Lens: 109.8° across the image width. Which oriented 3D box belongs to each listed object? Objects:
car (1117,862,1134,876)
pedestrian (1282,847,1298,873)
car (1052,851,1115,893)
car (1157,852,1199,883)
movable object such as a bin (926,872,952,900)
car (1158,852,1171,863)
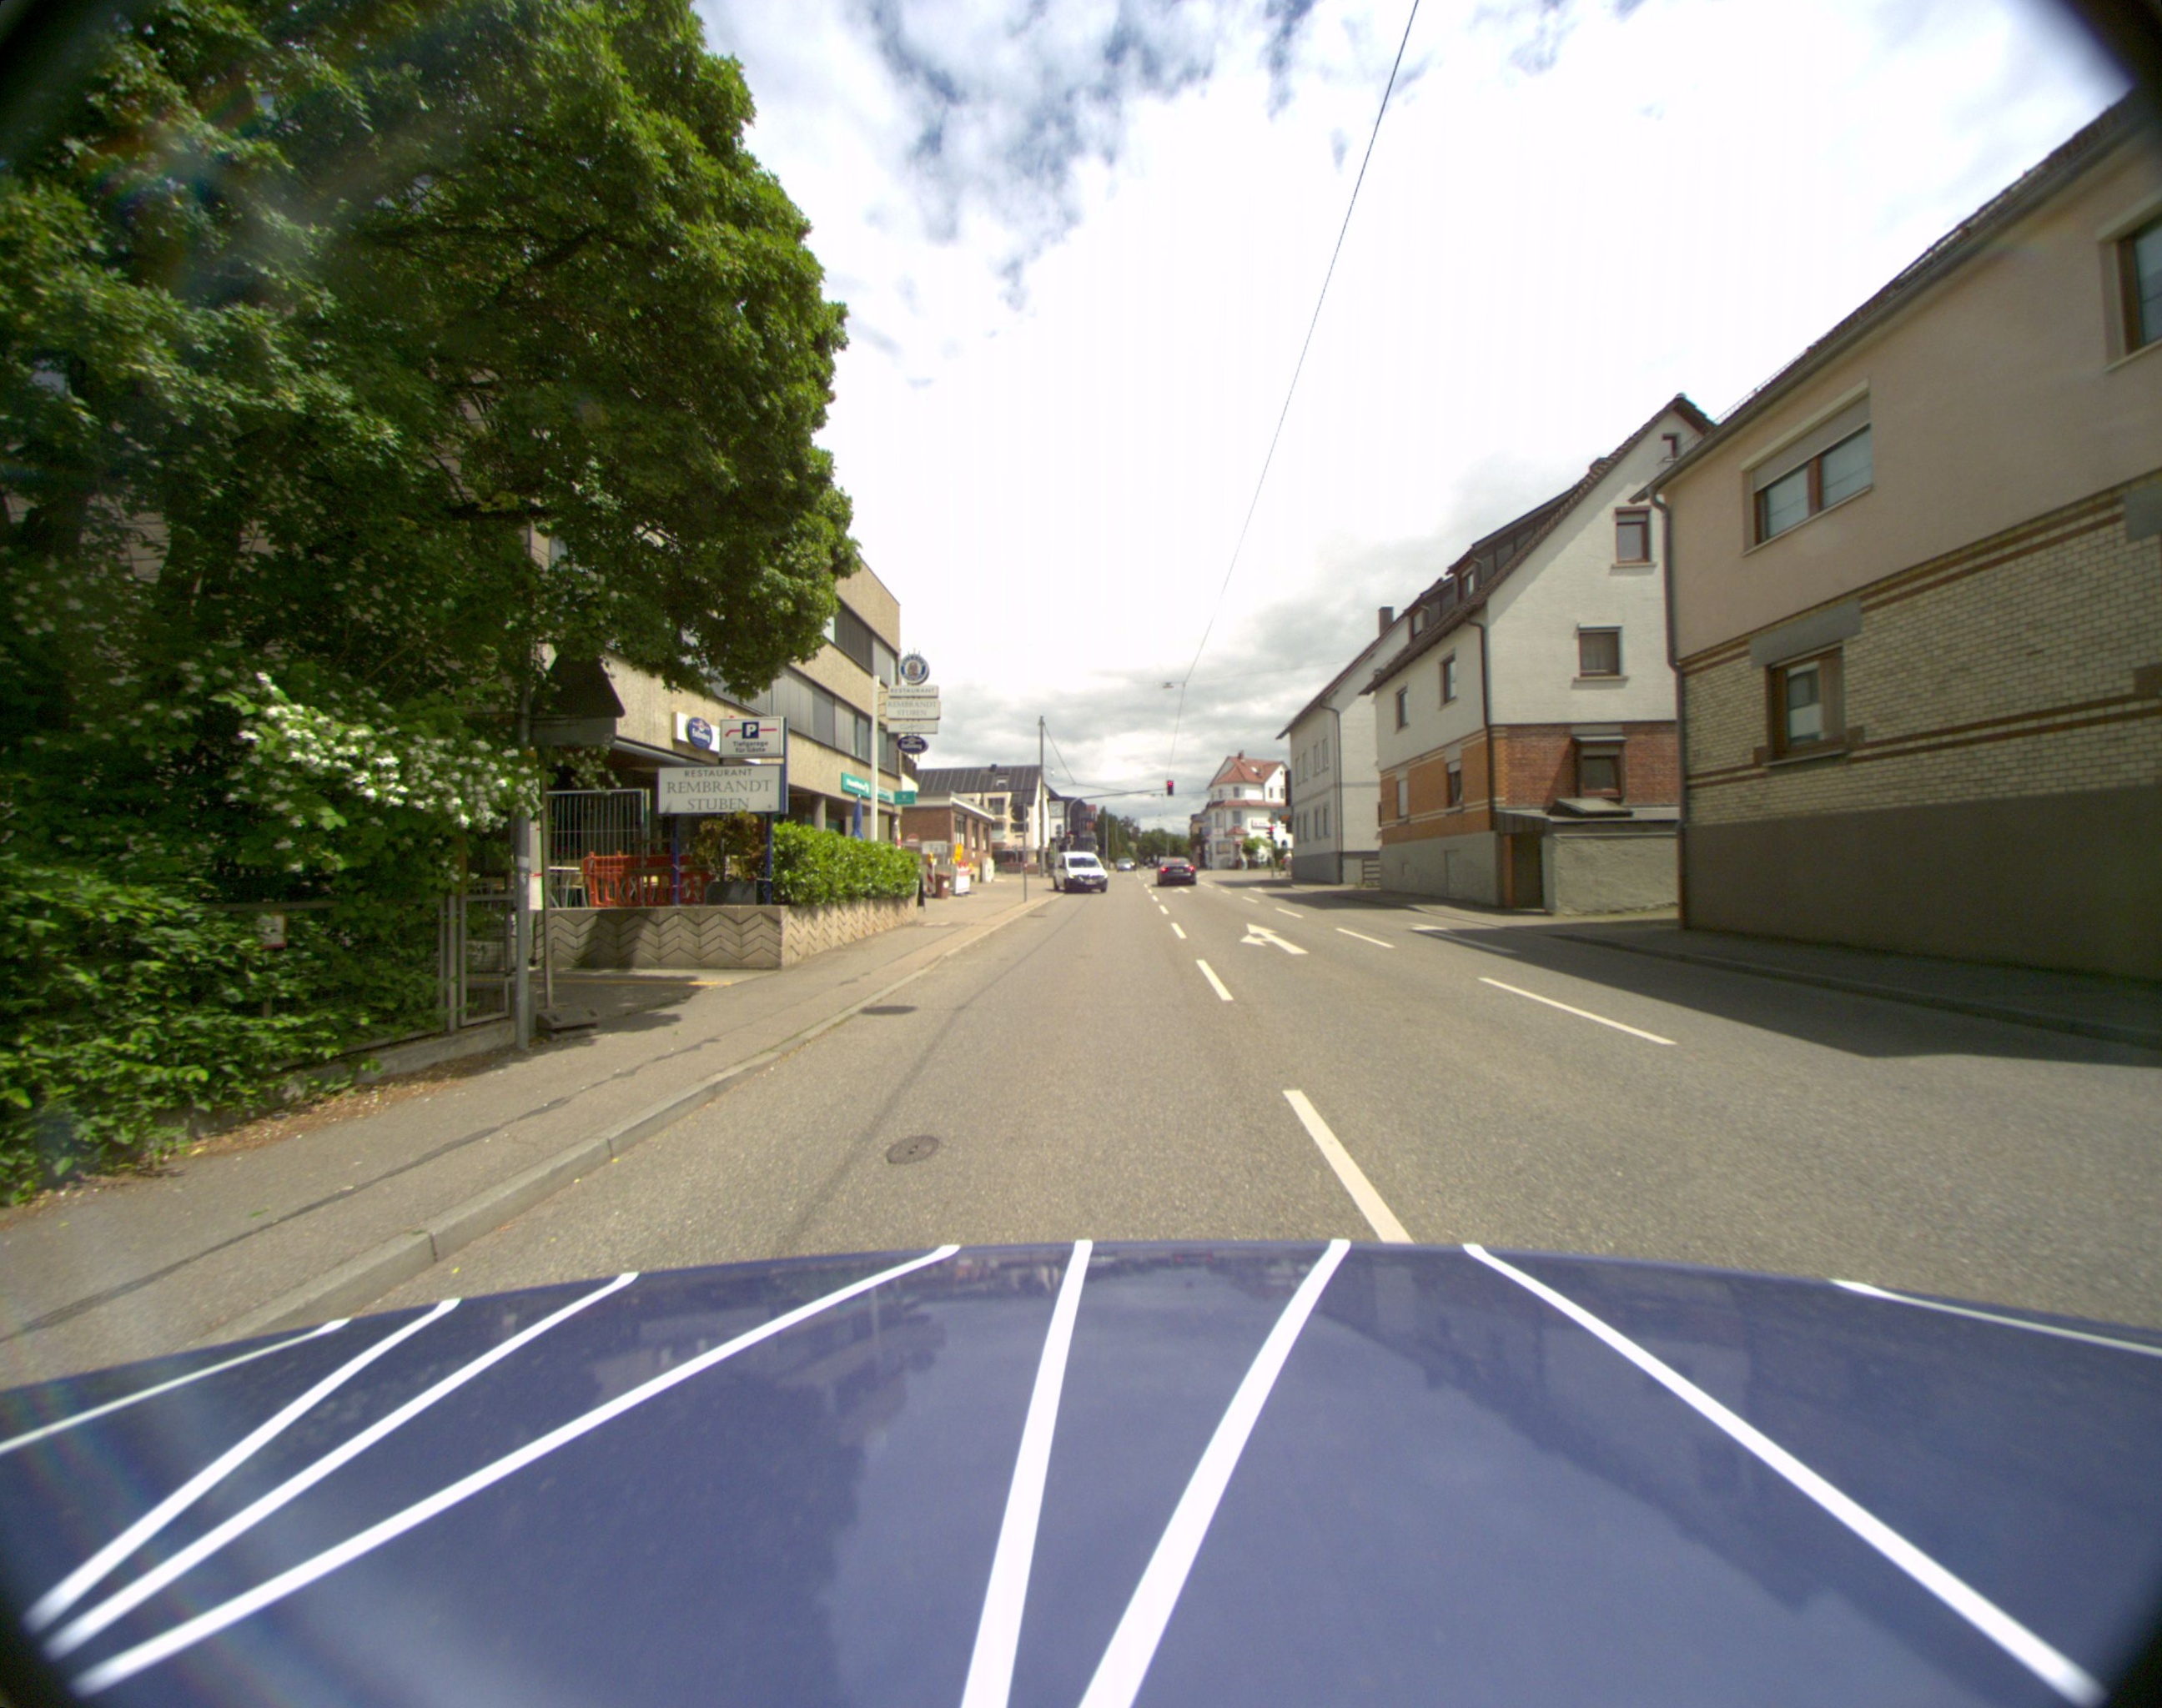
[{"bbox_3d":[5.076,1.736,86.984,1.795,1.477,4.002,-3,-1,3],"label":"car"},{"bbox_3d":[13.365,0.377,48.641,0.586,1.599,0.680,-3,1,-31],"label":"pedestrian"},{"bbox_3d":[0.052,0.758,34.292,1.895,1.718,4.288,-1,0,-13],"label":"car"},{"bbox_3d":[4.937,0.687,39.136,1.795,1.477,4.002,-3,-1,3],"label":"car"},{"bbox_3d":[-5.010,1.124,26.843,0.789,0.909,0.470,4,1,2],"label":"movable object such as a bin"},{"bbox_3d":[16.161,0.654,146.995,1.998,2.002,4.000,-1,0,1],"label":"car"}]
